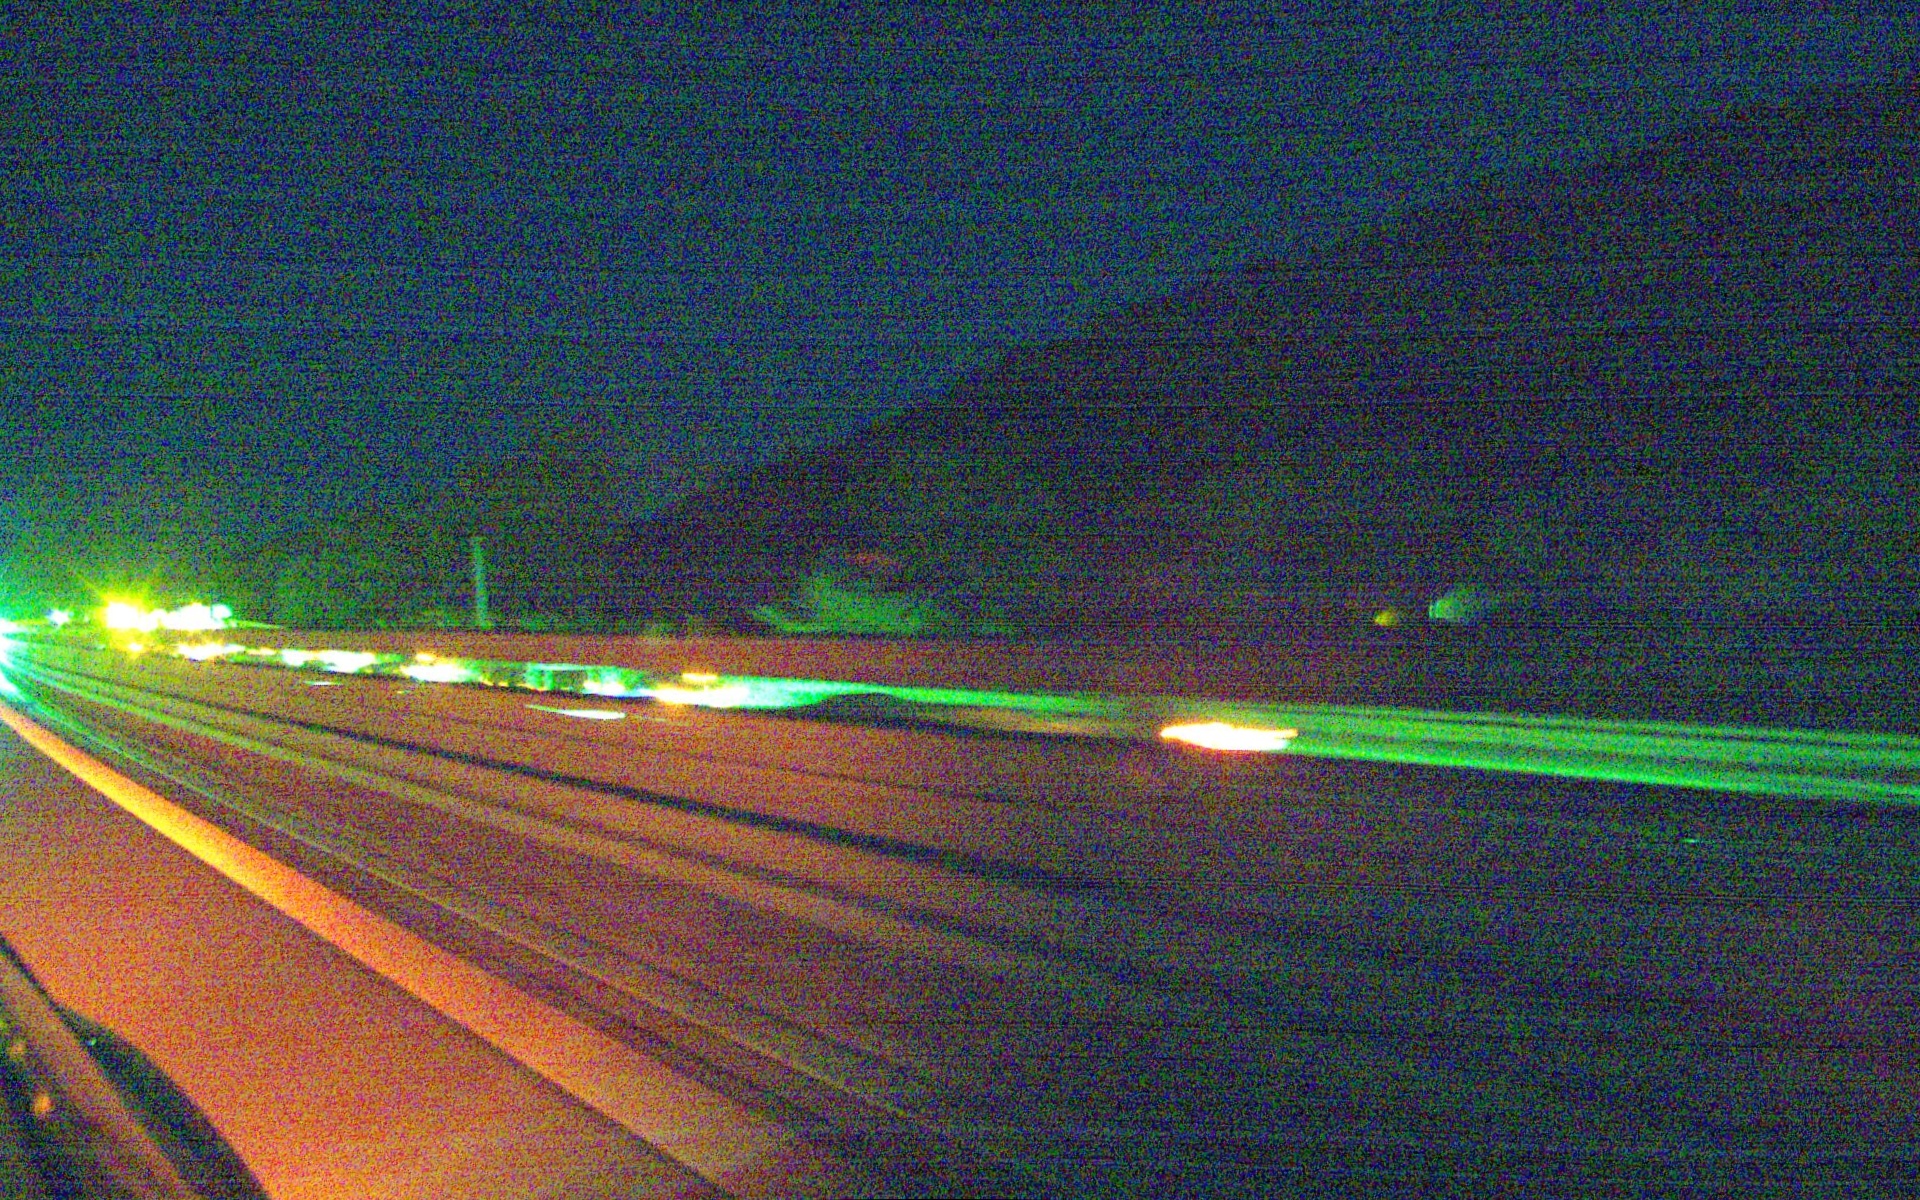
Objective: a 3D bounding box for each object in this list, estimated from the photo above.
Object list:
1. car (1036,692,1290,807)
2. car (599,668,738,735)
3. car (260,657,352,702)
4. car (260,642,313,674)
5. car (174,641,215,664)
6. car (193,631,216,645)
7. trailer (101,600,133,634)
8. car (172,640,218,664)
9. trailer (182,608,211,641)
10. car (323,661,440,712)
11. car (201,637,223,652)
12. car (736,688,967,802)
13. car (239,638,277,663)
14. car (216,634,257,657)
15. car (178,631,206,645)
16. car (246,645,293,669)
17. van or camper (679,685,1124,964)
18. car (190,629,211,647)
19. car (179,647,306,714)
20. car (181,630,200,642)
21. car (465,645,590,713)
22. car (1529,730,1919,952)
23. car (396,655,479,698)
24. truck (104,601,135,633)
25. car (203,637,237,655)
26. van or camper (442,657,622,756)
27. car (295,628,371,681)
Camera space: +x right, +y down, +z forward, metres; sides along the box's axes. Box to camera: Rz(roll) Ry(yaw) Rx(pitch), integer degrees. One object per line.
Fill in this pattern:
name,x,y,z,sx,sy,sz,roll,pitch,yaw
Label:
car,3.271,2.377,16.900,1.581,1.453,4.004,2,-3,-43
car,-7.932,2.679,27.331,4.000,1.453,1.817,-2,0,43
car,-27.525,3.282,42.539,5.113,1.635,2.115,-2,-3,44
car,-39.765,3.389,59.727,1.928,1.729,4.004,1,-2,-43
car,-55.427,3.751,73.280,1.880,1.464,4.716,-1,-1,-43
car,-80.162,4.033,107.398,1.683,1.387,4.010,0,-1,-34
trailer,-98.846,1.978,118.771,2.503,3.741,10.146,-3,1,-38
car,-51.304,3.480,67.875,4.001,1.469,1.802,-1,-3,44
trailer,-111.185,3.448,147.443,3.107,4.347,14.844,-2,1,-37
car,-19.981,2.908,34.852,5.113,1.501,2.115,-2,-3,44
car,-84.820,5.055,114.778,1.967,1.560,4.148,-1,0,-36
car,-1.887,2.294,16.796,4.000,1.453,1.583,-2,-3,43
car,-51.572,3.685,74.299,1.732,1.729,4.004,-1,-1,-43
car,-58.262,3.631,81.486,2.050,1.647,4.925,-1,-1,-43
car,-90.319,4.422,119.042,1.965,1.502,4.417,-1,0,-28
car,-45.204,3.706,66.225,1.802,1.469,4.003,3,-3,-44
van or camper,-0.780,2.021,10.563,4.574,2.029,2.008,-2,-2,42
car,-93.275,4.630,124.357,1.864,2.029,4.011,-1,0,-34
car,-21.142,2.292,29.735,5.113,1.719,2.115,-2,-3,44
car,-103.796,4.855,136.505,1.968,1.502,4.411,-1,0,-39
car,-14.803,2.612,34.501,5.114,2.070,2.115,-2,-3,44
car,7.637,2.071,8.913,4.378,1.453,1.585,-1,-2,39
car,-21.635,3.102,41.836,4.281,1.569,1.796,-2,-2,45
truck,-102.870,2.003,123.893,2.570,3.771,6.769,-3,1,-38
car,-67.622,4.208,92.458,1.880,1.464,4.716,-1,-1,-43
van or camper,-10.445,2.457,24.493,5.219,2.029,1.972,-2,-2,42
car,-32.221,2.723,51.923,5.698,2.460,2.004,-1,-1,45
